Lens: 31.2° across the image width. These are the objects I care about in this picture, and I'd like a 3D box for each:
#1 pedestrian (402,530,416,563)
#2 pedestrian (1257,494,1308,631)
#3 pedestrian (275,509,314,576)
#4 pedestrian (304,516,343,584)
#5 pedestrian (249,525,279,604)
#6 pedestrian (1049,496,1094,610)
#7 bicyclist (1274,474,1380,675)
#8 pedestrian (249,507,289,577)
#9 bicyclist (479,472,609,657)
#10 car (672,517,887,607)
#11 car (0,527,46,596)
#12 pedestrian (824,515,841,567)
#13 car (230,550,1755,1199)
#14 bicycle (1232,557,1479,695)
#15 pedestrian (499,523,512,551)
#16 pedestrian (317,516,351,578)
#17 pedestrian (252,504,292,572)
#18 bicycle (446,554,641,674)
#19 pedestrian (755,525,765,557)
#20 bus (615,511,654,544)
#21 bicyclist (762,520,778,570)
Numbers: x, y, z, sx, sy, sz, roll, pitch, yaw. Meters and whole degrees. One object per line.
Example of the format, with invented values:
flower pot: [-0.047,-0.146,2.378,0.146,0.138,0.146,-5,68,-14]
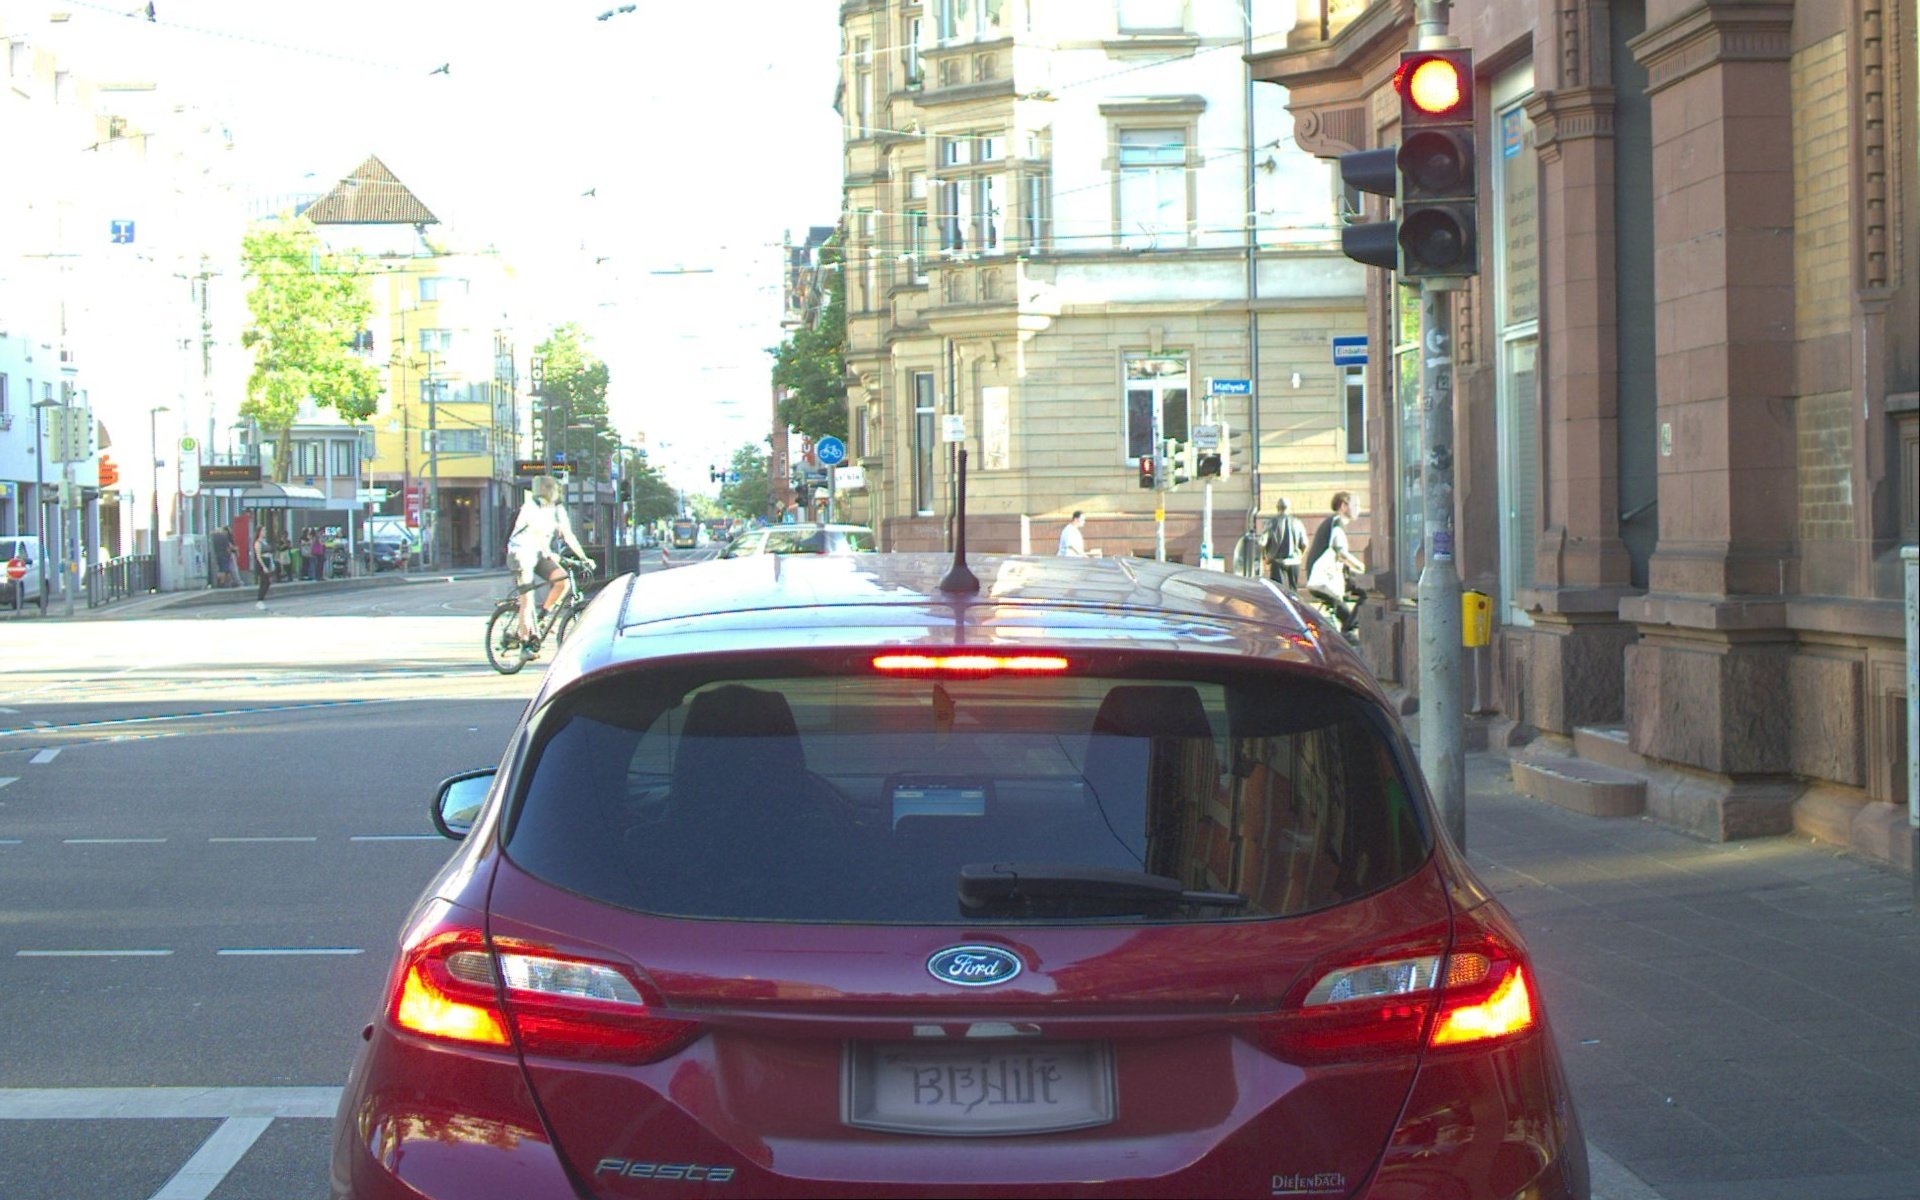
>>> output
pedestrian: [-25.616,-2.486,159.856,0.580,1.483,0.526,-1,1,-5]
pedestrian: [4.180,-0.488,44.574,0.560,1.749,0.650,-2,1,-1]
pedestrian: [-20.310,-1.761,104.894,1.045,2.007,0.959,-1,1,-5]
pedestrian: [-19.068,-1.496,102.972,1.045,2.007,0.959,-1,1,-5]
pedestrian: [-14.804,-0.754,73.148,0.524,1.676,0.486,-1,1,-1]
pedestrian: [1.969,-0.833,60.708,0.757,2.007,0.653,-1,1,4]
bicyclist: [3.203,-0.226,30.064,0.791,1.720,0.810,-1,1,-2]
pedestrian: [-20.222,-1.697,100.662,0.956,2.007,1.049,-1,1,-3]
bicyclist: [-4.160,-0.360,34.345,0.992,1.815,0.808,0,1,43]
car: [-3.236,-0.666,61.331,3.905,1.543,1.451,0,2,41]
car: [-24.499,-0.976,87.467,1.701,1.712,3.565,-1,1,-4]
pedestrian: [-4.975,-2.312,134.468,0.577,2.007,0.631,-1,1,3]
car: [-0.125,0.662,5.922,1.754,1.461,3.946,1,1,-5]
bicycle: [3.448,0.219,30.077,2.043,1.143,0.810,-1,1,-1]
pedestrian: [-26.006,-3.595,196.655,0.628,1.599,0.579,-1,1,-20]
pedestrian: [-20.280,-1.715,111.393,0.956,2.007,1.049,-1,1,-5]
pedestrian: [-20.587,-1.847,102.843,1.045,2.007,0.959,-1,1,-5]
bicycle: [-4.170,0.129,34.337,2.009,1.143,0.808,0,2,43]
pedestrian: [-11.884,-3.490,204.026,0.577,1.880,0.669,-1,1,-3]
bus: [-20.524,-4.553,216.993,1.925,2.007,7.138,-1,1,-2]
bicyclist: [-6.369,-1.855,115.228,0.499,1.670,0.545,-1,1,-2]
